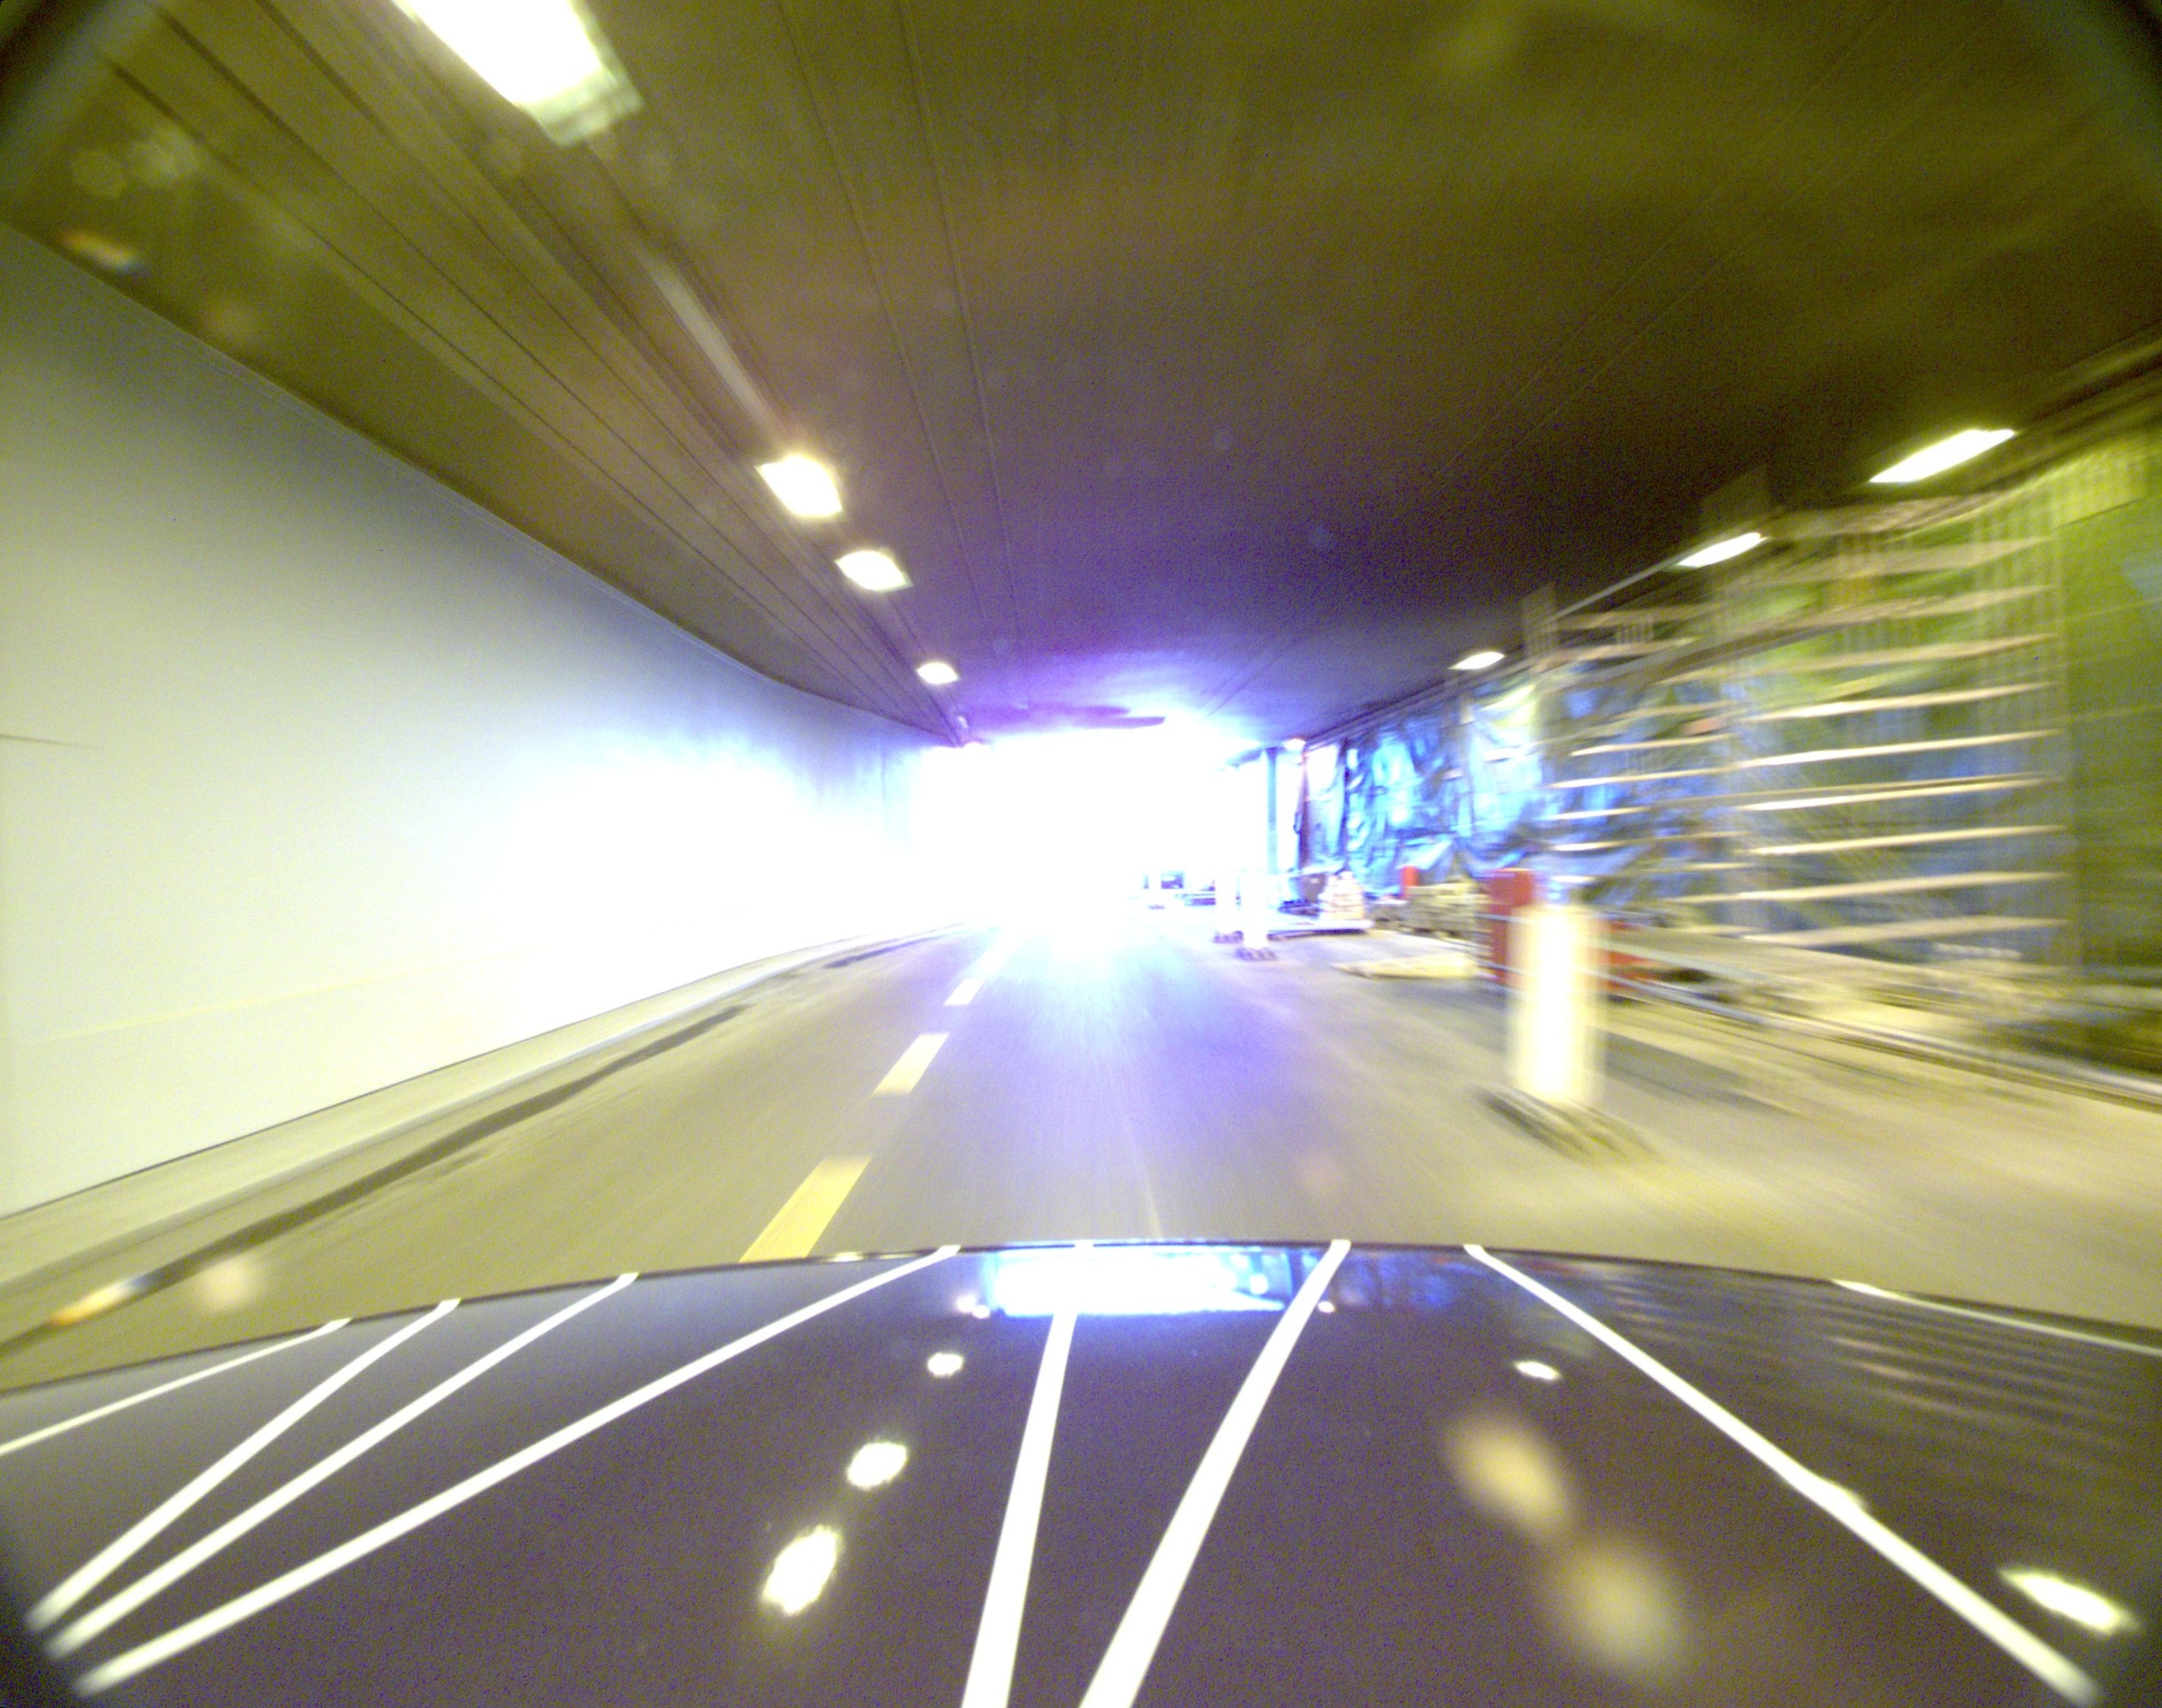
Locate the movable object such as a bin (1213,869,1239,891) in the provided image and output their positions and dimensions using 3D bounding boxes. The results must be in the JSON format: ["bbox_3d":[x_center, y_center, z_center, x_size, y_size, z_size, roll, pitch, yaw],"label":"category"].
[{"bbox_3d":[5.383,0.940,28.200,0.653,0.737,1.030,-1,2,-6],"label":"movable object such as a bin"}]

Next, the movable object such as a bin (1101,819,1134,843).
[{"bbox_3d":[3.089,-1.990,64.923,1.892,1.976,3.153,-2,3,-14],"label":"movable object such as a bin"}]

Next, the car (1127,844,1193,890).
[{"bbox_3d":[3.266,0.476,32.267,1.853,1.765,4.431,-2,1,-6],"label":"car"}]
